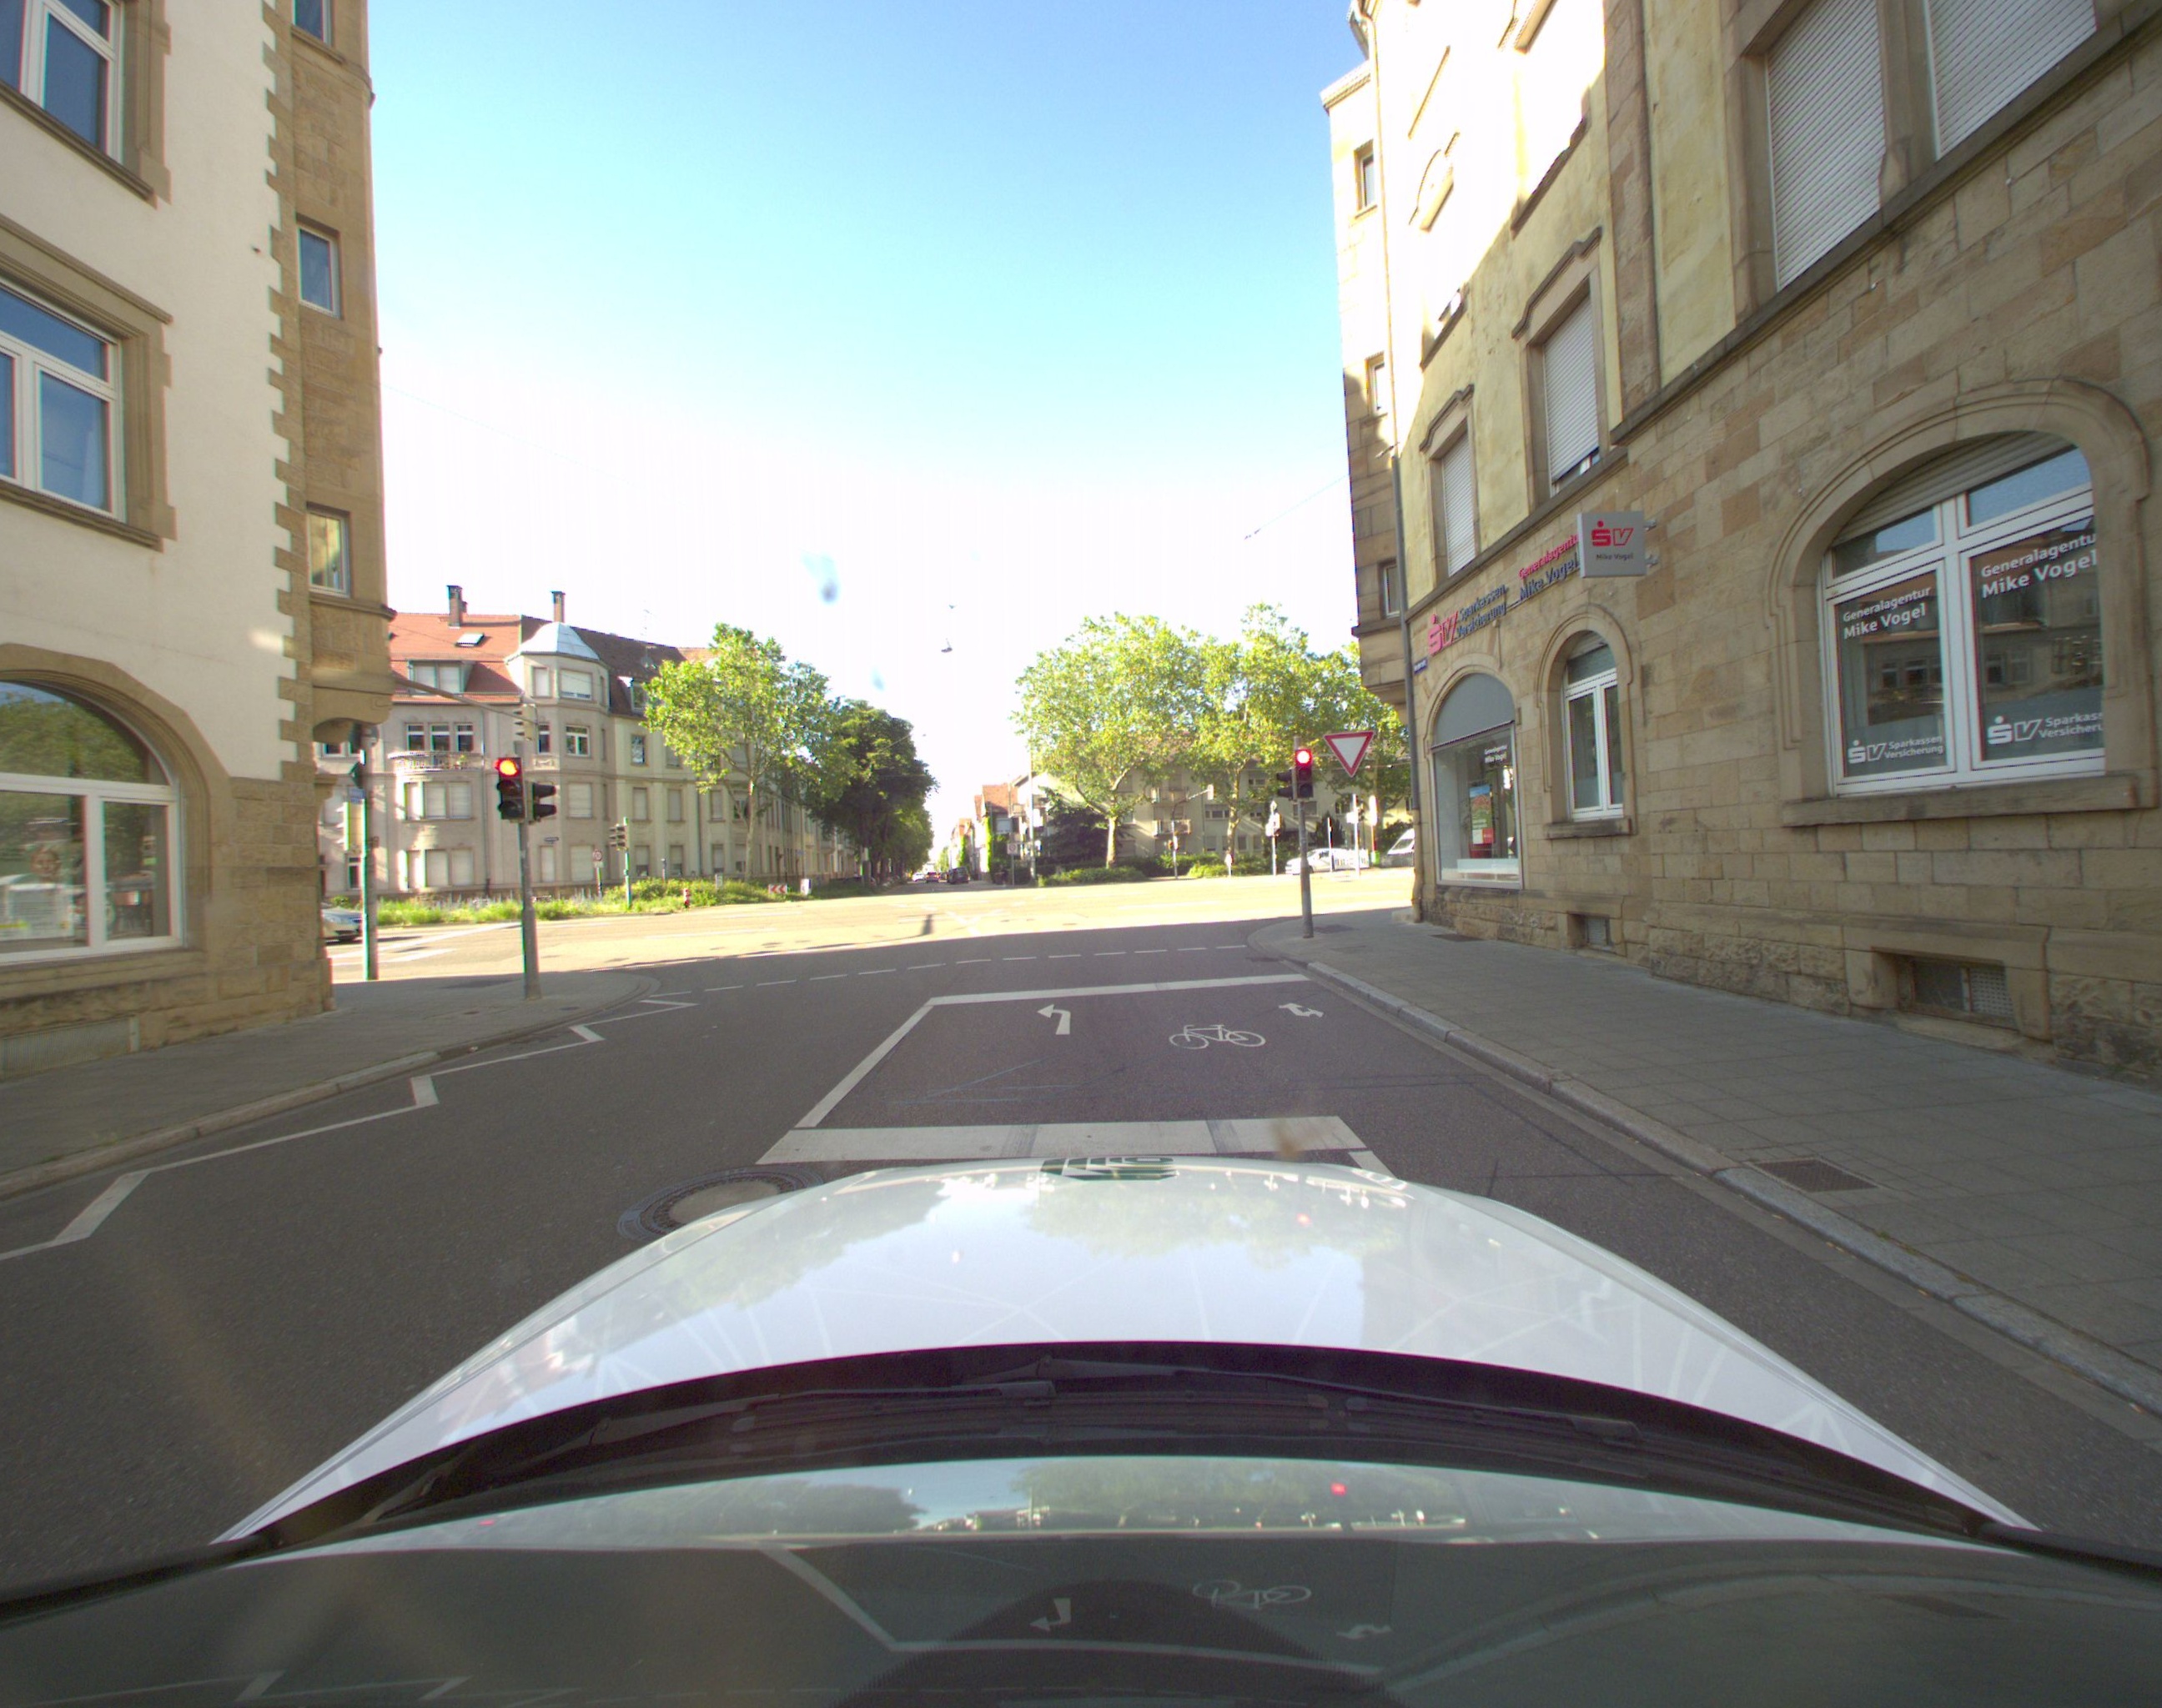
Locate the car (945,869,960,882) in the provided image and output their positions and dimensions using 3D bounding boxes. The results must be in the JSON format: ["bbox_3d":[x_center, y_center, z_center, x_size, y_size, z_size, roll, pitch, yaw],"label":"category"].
[{"bbox_3d":[-19.998,3.310,126.528,1.996,1.833,3.980,-2,-1,-14],"label":"car"}]

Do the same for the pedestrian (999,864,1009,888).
[{"bbox_3d":[-5.788,1.645,61.138,0.631,1.750,0.658,-2,-1,-3],"label":"pedestrian"}]

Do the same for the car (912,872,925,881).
[{"bbox_3d":[-28.051,3.880,140.460,1.995,1.445,3.983,-3,0,-12],"label":"car"}]

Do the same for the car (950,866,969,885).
[{"bbox_3d":[-14.282,2.523,95.721,1.992,2.013,3.989,-3,0,-8],"label":"car"}]

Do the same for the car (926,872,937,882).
[{"bbox_3d":[-23.040,3.494,125.275,1.675,1.483,3.508,-2,-1,-11],"label":"car"}]

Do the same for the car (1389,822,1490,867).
[{"bbox_3d":[23.147,-0.633,52.624,6.054,2.568,1.989,-3,0,-17],"label":"car"}]

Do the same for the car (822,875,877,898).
[{"bbox_3d":[-18.296,2.542,64.410,3.997,1.486,1.672,-3,0,-17],"label":"car"}]

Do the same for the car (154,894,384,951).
[{"bbox_3d":[-21.854,1.808,22.124,3.995,1.319,1.812,0,-1,-16],"label":"car"}]

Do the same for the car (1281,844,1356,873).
[{"bbox_3d":[13.585,0.254,46.708,3.791,1.472,1.623,-3,0,-13],"label":"car"}]
